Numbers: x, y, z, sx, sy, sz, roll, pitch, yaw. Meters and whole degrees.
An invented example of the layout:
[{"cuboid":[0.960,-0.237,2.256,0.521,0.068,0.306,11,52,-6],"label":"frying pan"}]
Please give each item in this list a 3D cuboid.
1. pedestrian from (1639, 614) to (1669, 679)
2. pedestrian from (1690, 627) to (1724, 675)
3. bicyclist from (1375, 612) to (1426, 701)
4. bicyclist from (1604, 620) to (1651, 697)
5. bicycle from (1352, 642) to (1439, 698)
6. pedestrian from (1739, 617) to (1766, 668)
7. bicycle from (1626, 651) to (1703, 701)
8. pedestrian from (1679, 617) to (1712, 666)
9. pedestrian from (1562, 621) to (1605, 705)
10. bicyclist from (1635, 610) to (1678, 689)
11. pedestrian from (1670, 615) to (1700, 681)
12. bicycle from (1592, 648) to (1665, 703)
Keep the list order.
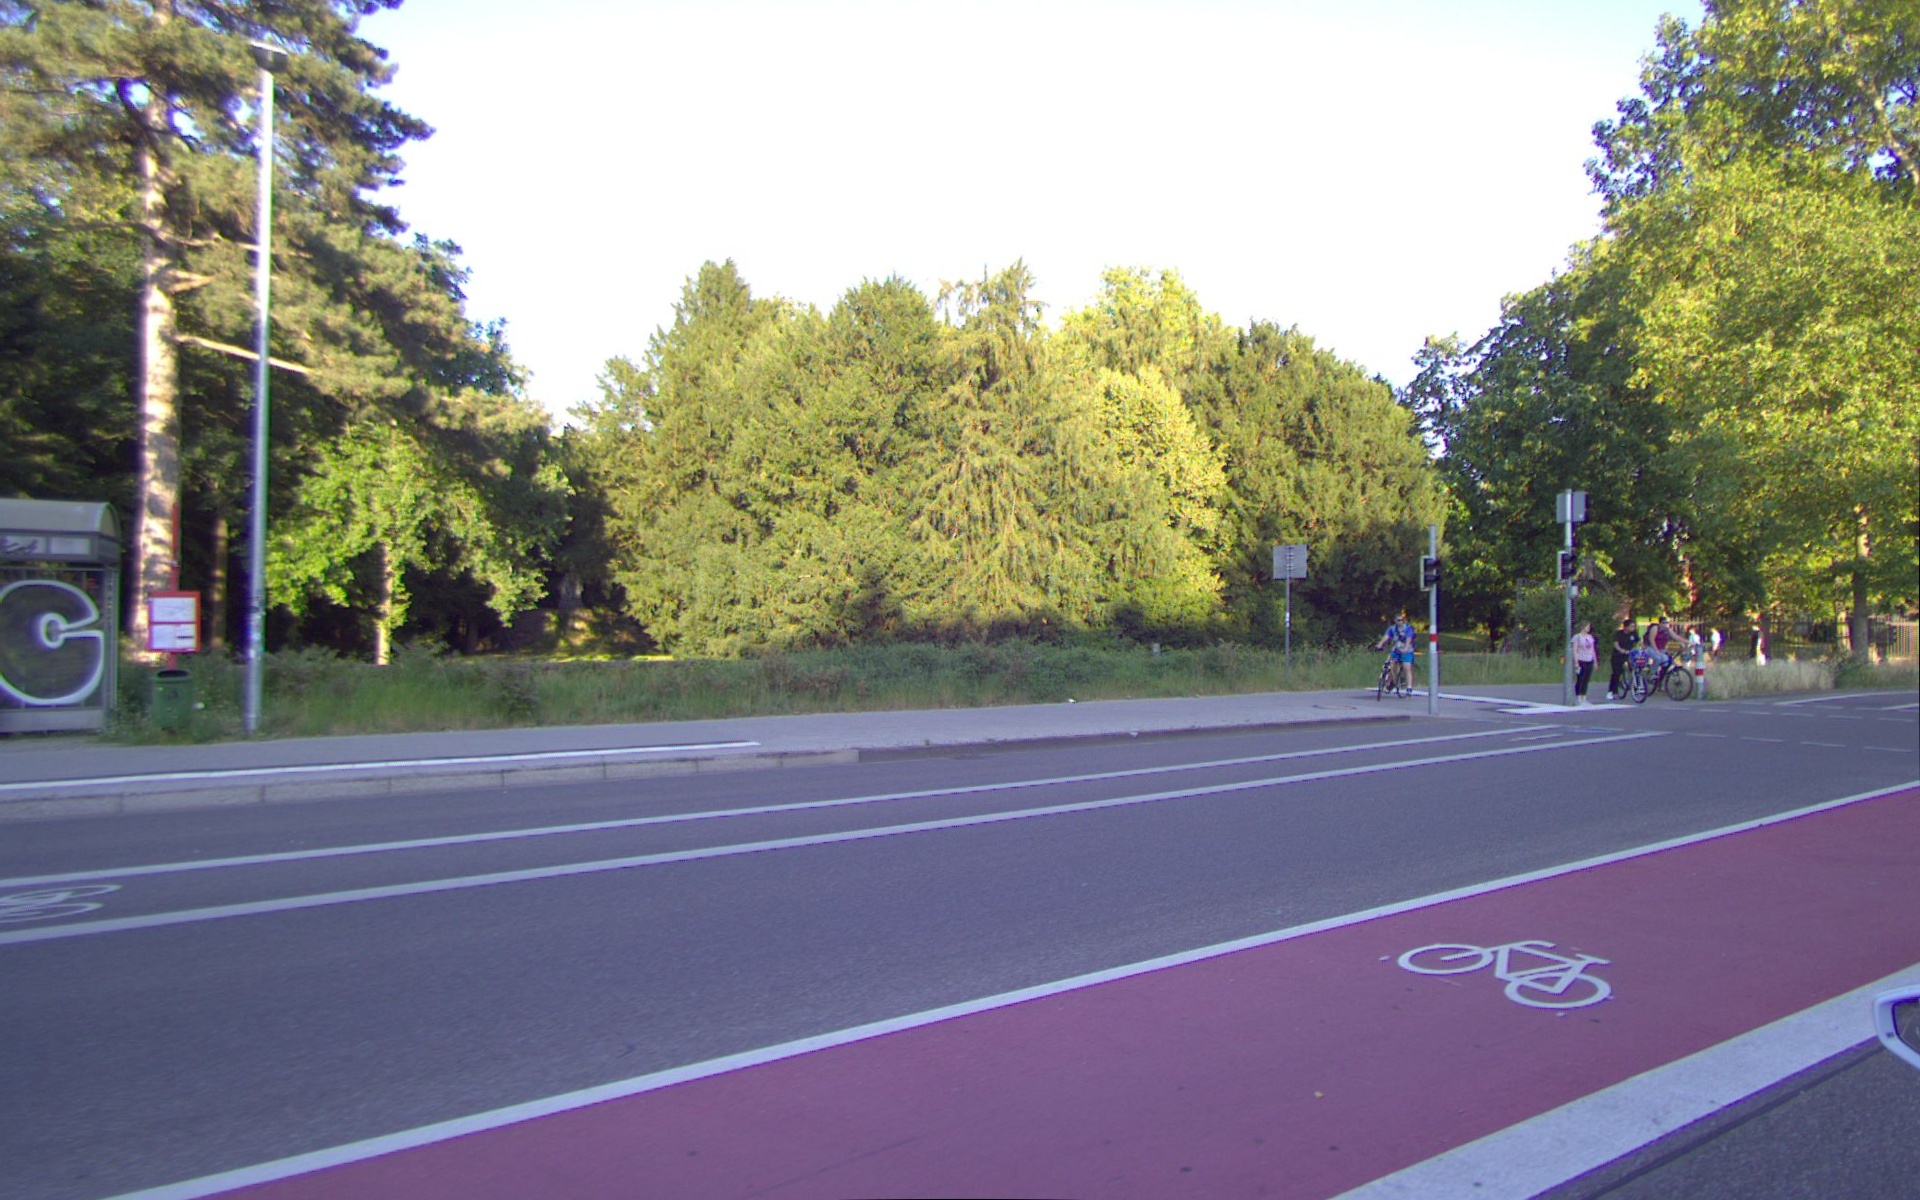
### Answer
[{"cuboid":[22.382,1.482,32.393,0.638,2.040,0.606,1,0,22],"label":"pedestrian"},{"cuboid":[32.203,2.177,43.309,1.062,2.040,0.758,1,0,-25],"label":"pedestrian"},{"cuboid":[9.445,1.194,21.551,0.705,1.848,0.730,0,-1,-36],"label":"bicyclist"},{"cuboid":[14.749,1.276,22.216,0.618,1.671,0.640,0,-1,1],"label":"bicyclist"},{"cuboid":[9.349,1.479,21.533,2.101,1.115,0.765,1,-1,-36],"label":"bicycle"},{"cuboid":[32.570,1.736,41.265,0.692,2.040,0.637,1,-1,-28],"label":"pedestrian"},{"cuboid":[16.146,1.722,23.057,0.568,1.043,1.772,0,-1,2],"label":"bicycle"},{"cuboid":[31.225,1.758,42.659,0.982,2.040,0.799,1,0,-30],"label":"pedestrian"},{"cuboid":[13.019,1.307,20.976,0.492,1.718,0.604,1,-1,-28],"label":"pedestrian"},{"cuboid":[16.152,1.133,23.296,0.564,1.804,0.640,0,-1,1],"label":"bicyclist"},{"cuboid":[22.680,1.485,31.419,0.584,2.040,0.642,1,0,21],"label":"pedestrian"},{"cuboid":[14.745,1.644,22.196,0.620,1.126,1.569,0,-1,2],"label":"bicycle"}]
